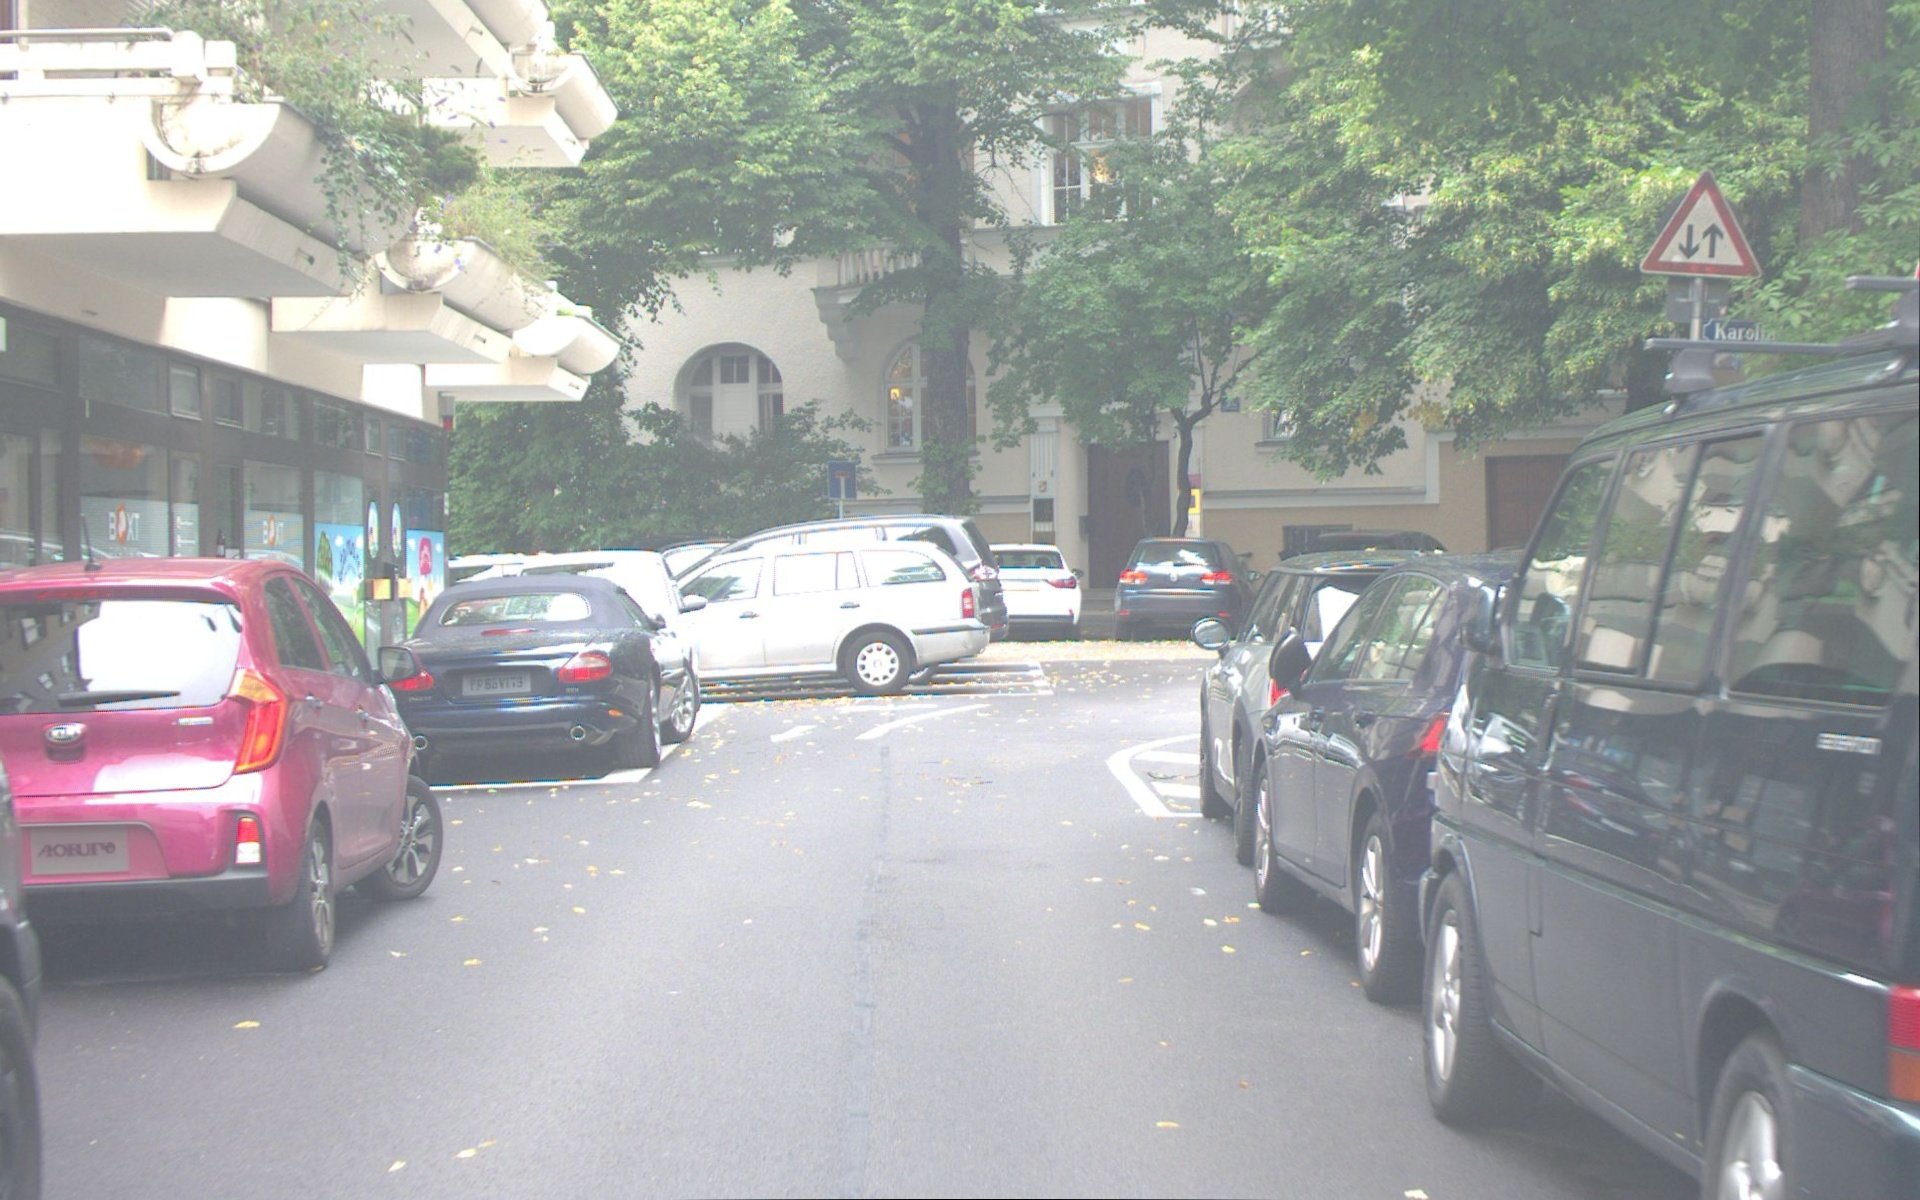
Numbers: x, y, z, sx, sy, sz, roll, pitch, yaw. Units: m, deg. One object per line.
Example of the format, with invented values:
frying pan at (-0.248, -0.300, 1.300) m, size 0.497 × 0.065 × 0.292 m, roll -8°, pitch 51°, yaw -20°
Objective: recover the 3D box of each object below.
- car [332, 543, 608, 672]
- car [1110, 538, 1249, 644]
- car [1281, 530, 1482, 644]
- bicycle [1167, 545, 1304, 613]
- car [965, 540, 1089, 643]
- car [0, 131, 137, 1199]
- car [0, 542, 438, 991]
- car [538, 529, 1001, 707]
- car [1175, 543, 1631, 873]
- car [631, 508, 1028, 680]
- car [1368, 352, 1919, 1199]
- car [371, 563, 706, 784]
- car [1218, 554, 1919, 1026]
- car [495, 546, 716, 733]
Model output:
car at (-6.349, 0.086, 44.479) m, size 3.287 × 1.625 × 1.510 m, roll 0°, pitch 1°, yaw -20°
car at (3.156, -0.154, 48.856) m, size 1.792 × 1.426 × 3.999 m, roll 0°, pitch 1°, yaw 6°
car at (5.979, -0.204, 48.403) m, size 1.841 × 1.525 × 4.020 m, roll 1°, pitch 1°, yaw 22°
bicycle at (4.612, -0.361, 57.674) m, size 2.232 × 1.111 × 0.576 m, roll 1°, pitch 1°, yaw 28°
car at (0.990, -0.153, 50.022) m, size 1.718 × 1.426 × 4.000 m, roll 0°, pitch 1°, yaw 1°
car at (-2.794, 0.286, 4.714) m, size 2.018 × 2.271 × 5.391 m, roll -2°, pitch 0°, yaw -1°
car at (-3.066, 0.535, 13.367) m, size 1.619 × 1.491 × 3.709 m, roll -1°, pitch 1°, yaw -2°
car at (-1.787, 0.151, 32.760) m, size 4.227 × 1.450 × 1.721 m, roll -3°, pitch 1°, yaw -1°
car at (2.080, 0.449, 17.153) m, size 1.743 × 1.436 × 4.000 m, roll -1°, pitch 1°, yaw 0°
car at (-1.445, -0.087, 38.013) m, size 4.219 × 1.678 × 1.903 m, roll -2°, pitch 1°, yaw -2°
car at (2.148, 0.516, 7.274) m, size 1.874 × 1.785 × 4.782 m, roll 0°, pitch 0°, yaw -2°
car at (-2.784, 0.430, 23.630) m, size 1.797 × 1.273 × 4.617 m, roll -2°, pitch 1°, yaw -1°
car at (2.082, 0.549, 12.494) m, size 1.833 × 1.414 × 4.059 m, roll -1°, pitch 1°, yaw -2°
car at (-2.944, 0.281, 29.183) m, size 1.560 × 1.416 × 3.834 m, roll -2°, pitch 1°, yaw -2°
